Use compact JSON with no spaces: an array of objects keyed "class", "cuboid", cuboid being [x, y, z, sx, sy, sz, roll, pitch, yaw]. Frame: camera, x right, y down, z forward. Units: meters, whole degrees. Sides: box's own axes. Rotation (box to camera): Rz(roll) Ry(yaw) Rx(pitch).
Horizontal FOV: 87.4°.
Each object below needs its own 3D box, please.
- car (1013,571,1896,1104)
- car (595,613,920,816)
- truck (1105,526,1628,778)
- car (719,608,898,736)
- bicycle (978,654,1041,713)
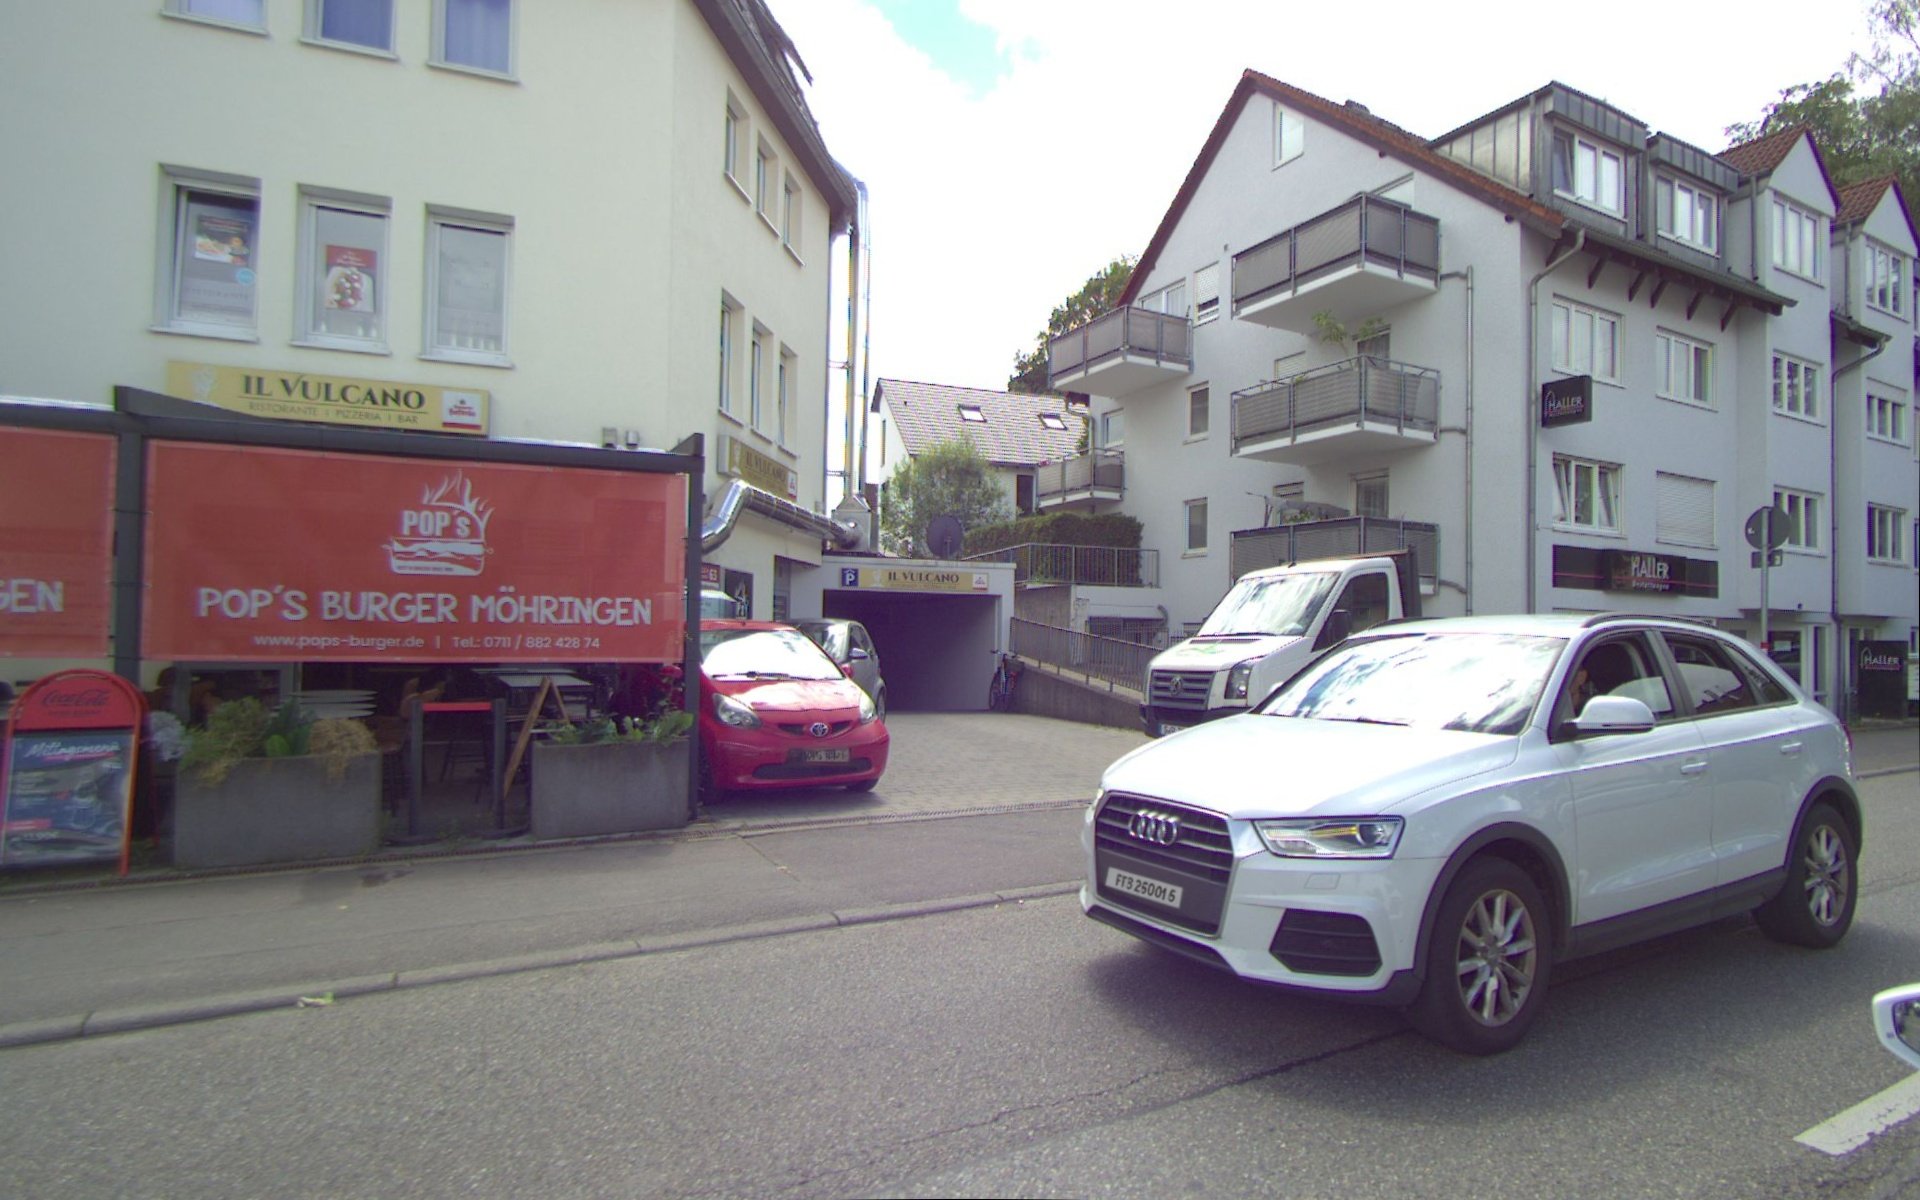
[{"class":"car","cuboid":[2.458,0.801,4.828,4.109,1.591,1.798,2,-3,-29]},{"class":"car","cuboid":[-2.063,0.873,9.370,1.785,1.444,3.672,2,-1,-32]},{"class":"truck","cuboid":[4.967,0.616,11.998,6.243,2.411,2.217,2,-1,-27]},{"class":"car","cuboid":[-1.928,0.922,13.538,1.534,1.489,2.850,1,-2,10]},{"class":"bicycle","cuboid":[0.905,1.540,18.786,0.567,1.015,1.723,2,-3,-18]}]
